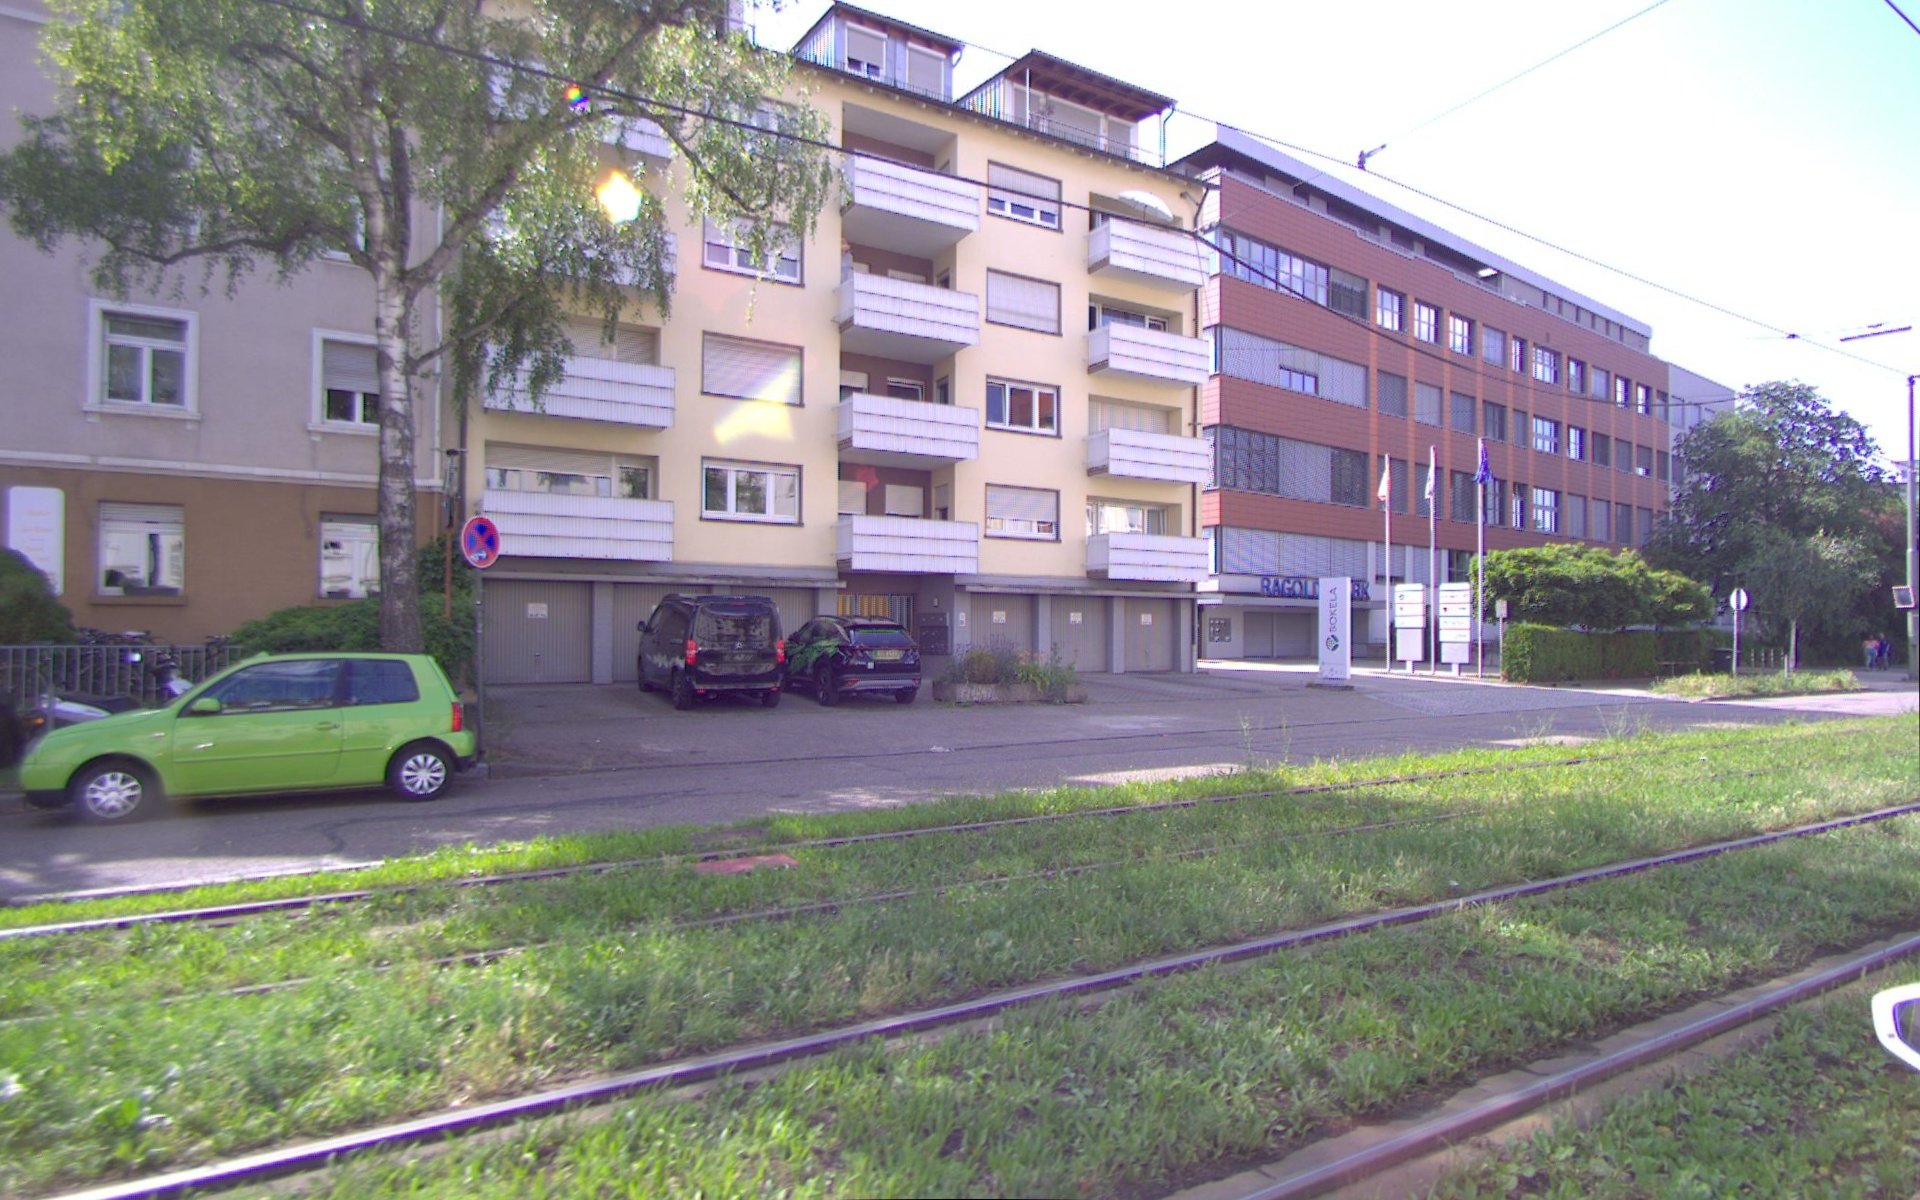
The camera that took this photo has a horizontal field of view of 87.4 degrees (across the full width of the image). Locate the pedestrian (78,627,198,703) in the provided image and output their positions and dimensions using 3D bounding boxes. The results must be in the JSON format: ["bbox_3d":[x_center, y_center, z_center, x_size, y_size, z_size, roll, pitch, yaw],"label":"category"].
[{"bbox_3d":[-13.449,1.040,16.531,1.053,1.153,2.395,1,-2,-28],"label":"pedestrian"}]

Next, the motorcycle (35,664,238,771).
[{"bbox_3d":[-8.872,1.243,10.894,1.613,1.056,0.497,2,1,-31],"label":"motorcycle"}]

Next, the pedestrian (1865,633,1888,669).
[{"bbox_3d":[43.191,2.397,47.335,0.737,1.679,0.555,1,-2,-27],"label":"pedestrian"}]

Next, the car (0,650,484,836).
[{"bbox_3d":[-6.578,1.225,9.625,3.570,1.451,1.587,1,-2,-29],"label":"car"}]

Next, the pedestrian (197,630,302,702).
[{"bbox_3d":[-12.140,1.084,17.264,1.116,1.144,2.502,1,-2,-28],"label":"pedestrian"}]

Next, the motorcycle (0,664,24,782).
[{"bbox_3d":[-10.454,1.234,9.931,1.615,1.167,0.731,1,-2,-32],"label":"motorcycle"}]

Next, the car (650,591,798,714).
[{"bbox_3d":[-4.559,0.882,18.993,1.911,2.040,3.974,1,0,-26],"label":"car"}]

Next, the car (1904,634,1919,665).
[{"bbox_3d":[53.202,2.637,53.405,4.050,1.662,1.727,0,-1,16],"label":"car"}]

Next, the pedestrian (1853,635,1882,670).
[{"bbox_3d":[41.450,2.403,45.878,0.878,1.594,0.743,3,-2,-27],"label":"pedestrian"}]

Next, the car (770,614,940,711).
[{"bbox_3d":[-2.189,1.142,19.908,1.949,1.623,3.969,1,0,-29],"label":"car"}]
